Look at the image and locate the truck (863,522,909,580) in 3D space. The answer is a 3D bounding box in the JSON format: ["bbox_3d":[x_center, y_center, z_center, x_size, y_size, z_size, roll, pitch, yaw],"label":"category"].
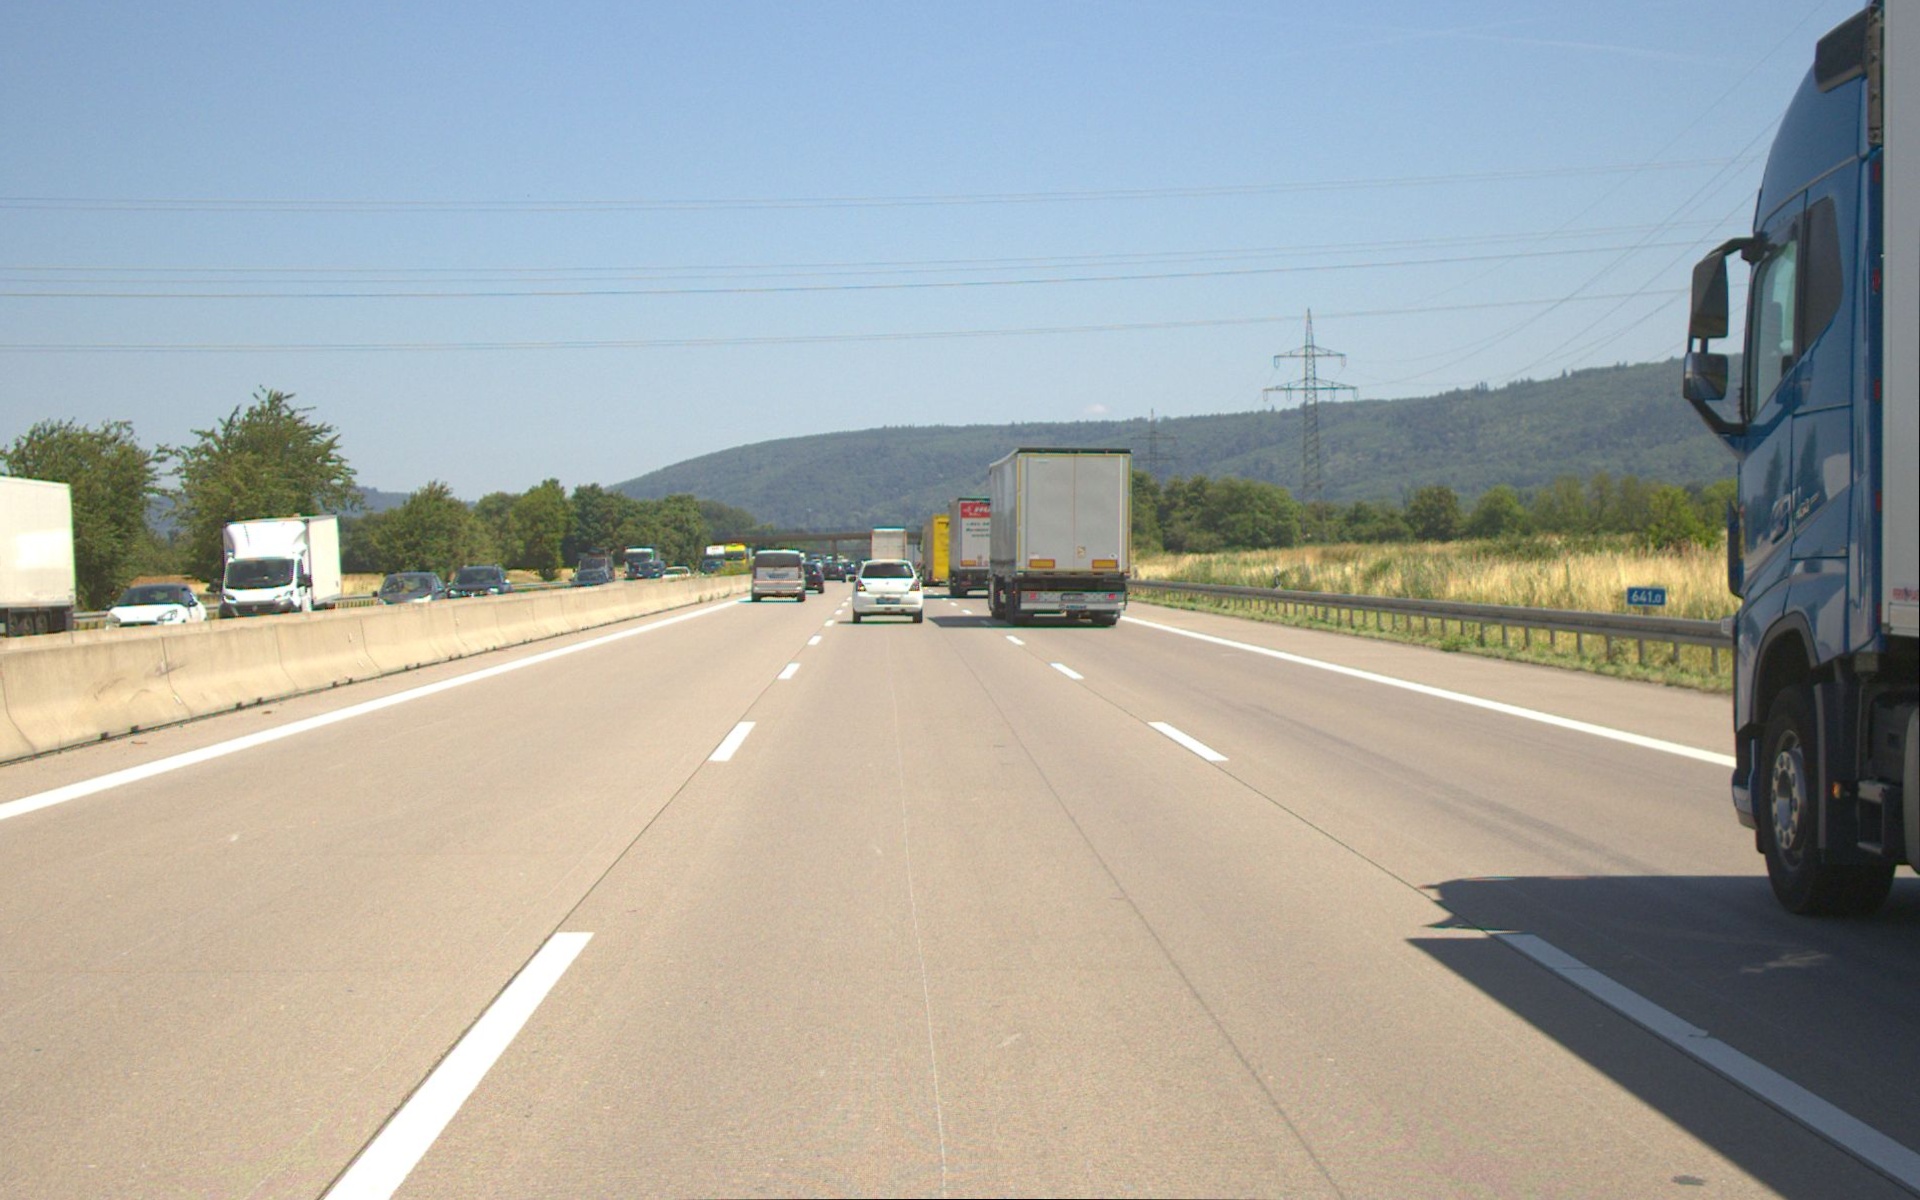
[{"bbox_3d":[-5.553,-3.694,257.970,3.353,4.257,8.229,1,1,-1],"label":"truck"}]

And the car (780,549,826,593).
[{"bbox_3d":[-7.164,-1.336,157.227,1.993,1.950,4.000,1,1,-1],"label":"car"}]

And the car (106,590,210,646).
[{"bbox_3d":[-17.828,0.376,76.575,1.680,1.142,4.399,-1,1,-5],"label":"car"}]

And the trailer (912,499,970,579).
[{"bbox_3d":[-1.198,-3.579,203.711,3.216,4.548,13.457,1,1,-1],"label":"trailer"}]

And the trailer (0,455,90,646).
[{"bbox_3d":[-21.728,-1.082,74.151,2.820,4.030,12.678,1,1,-1],"label":"trailer"}]

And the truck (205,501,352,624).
[{"bbox_3d":[-18.087,-1.011,91.706,2.547,3.131,7.923,0,1,-2],"label":"truck"}]

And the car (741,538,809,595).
[{"bbox_3d":[-6.745,-1.240,125.688,2.254,2.007,4.298,1,1,0],"label":"car"}]

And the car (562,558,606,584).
[{"bbox_3d":[-16.278,-1.267,149.038,1.521,1.049,3.523,1,1,0],"label":"car"}]

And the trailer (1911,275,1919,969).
[{"bbox_3d":[4.913,-0.608,5.893,2.708,4.030,12.903,1,1,-1],"label":"trailer"}]

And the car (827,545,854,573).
[{"bbox_3d":[-8.325,-2.863,239.596,1.783,1.875,4.000,1,1,-1],"label":"car"}]

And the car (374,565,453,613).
[{"bbox_3d":[-13.899,-0.299,87.603,1.542,1.159,3.376,1,1,-1],"label":"car"}]

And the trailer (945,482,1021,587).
[{"bbox_3d":[0.880,-2.665,142.217,2.873,4.086,13.513,1,1,0],"label":"trailer"}]

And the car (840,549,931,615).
[{"bbox_3d":[-1.772,-0.449,83.136,2.107,1.530,4.122,1,1,0],"label":"car"}]

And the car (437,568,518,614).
[{"bbox_3d":[-14.821,-0.283,105.793,1.846,1.347,4.494,-1,1,0],"label":"car"}]

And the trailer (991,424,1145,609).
[{"bbox_3d":[2.442,-1.931,82.943,3.018,4.047,14.208,1,1,-1],"label":"trailer"}]

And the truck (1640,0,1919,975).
[{"bbox_3d":[4.739,-0.705,13.903,2.750,4.030,5.466,1,1,-1],"label":"truck"}]
